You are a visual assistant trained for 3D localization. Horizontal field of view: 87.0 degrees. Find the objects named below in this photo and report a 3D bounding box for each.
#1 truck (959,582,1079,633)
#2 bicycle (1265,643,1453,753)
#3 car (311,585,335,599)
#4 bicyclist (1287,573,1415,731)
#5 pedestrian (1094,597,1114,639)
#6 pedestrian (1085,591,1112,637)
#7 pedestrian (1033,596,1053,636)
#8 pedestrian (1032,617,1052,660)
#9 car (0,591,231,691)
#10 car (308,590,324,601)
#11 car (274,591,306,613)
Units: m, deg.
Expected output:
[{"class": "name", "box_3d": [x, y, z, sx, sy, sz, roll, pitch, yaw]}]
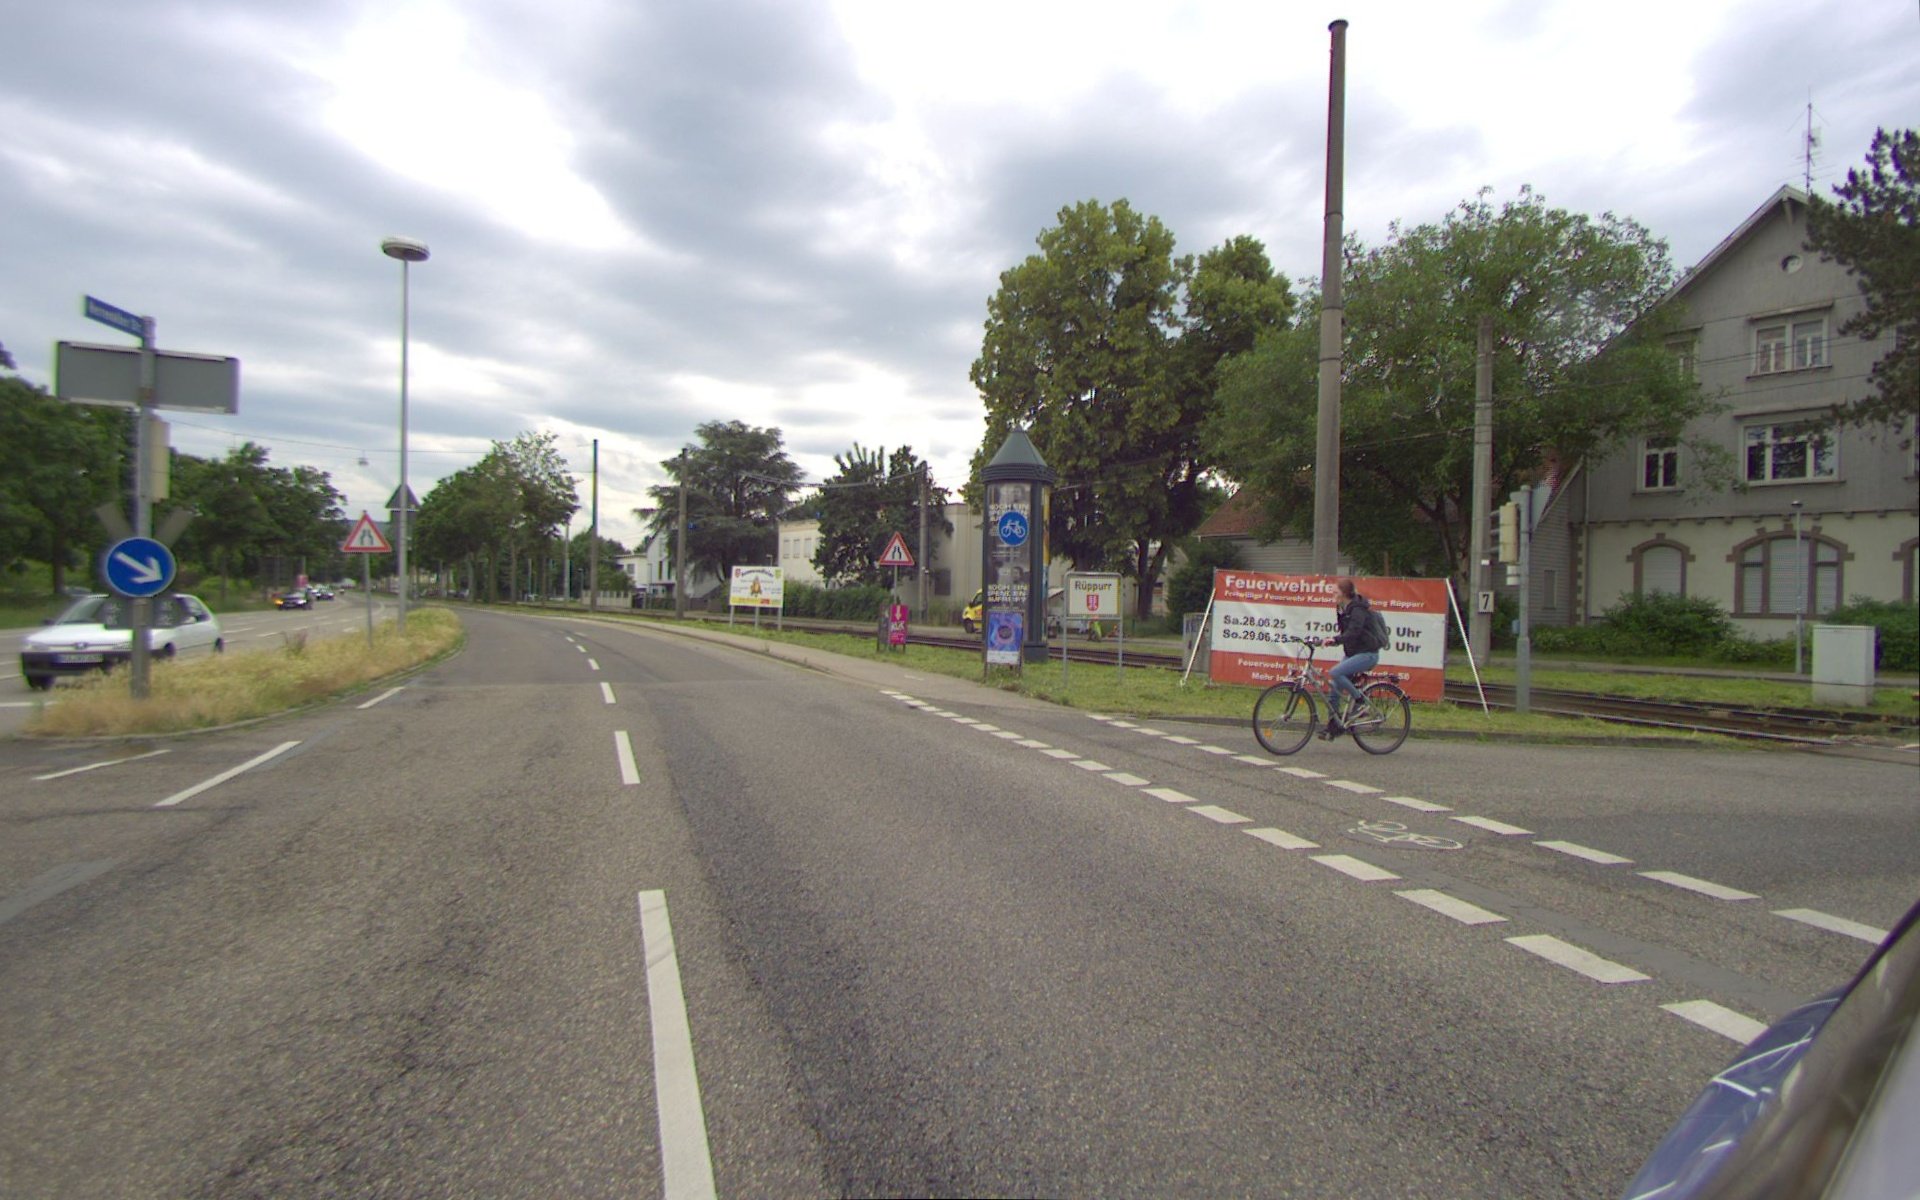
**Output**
[{"class": "truck", "box_3d": [2.743, 0.307, 49.052, 2.554, 2.322, 6.415, 1, 0, -32]}, {"class": "bicycle", "box_3d": [3.920, 0.952, 9.890, 1.987, 0.993, 0.384, 2, -1, -23]}, {"class": "car", "box_3d": [-73.779, -0.953, 117.204, 1.723, 1.594, 4.007, 1, 0, -24]}, {"class": "bicyclist", "box_3d": [3.771, 0.498, 9.784, 0.941, 1.444, 0.624, 1, -4, -24]}, {"class": "pedestrian", "box_3d": [6.167, 0.767, 43.451, 0.626, 1.784, 0.574, 1, 0, -43]}, {"class": "pedestrian", "box_3d": [5.802, 0.594, 42.430, 0.855, 1.878, 0.681, 2, -1, -21]}, {"class": "pedestrian", "box_3d": [3.722, 0.713, 45.295, 0.626, 1.784, 0.574, 1, 0, -43]}, {"class": "pedestrian", "box_3d": [3.623, 1.705, 44.813, 0.704, 1.863, 0.604, 1, -1, 22]}, {"class": "car", "box_3d": [-13.285, 0.562, 16.223, 1.612, 1.374, 4.159, 1, 0, -22]}, {"class": "car", "box_3d": [-98.660, -0.678, 155.074, 1.960, 1.677, 4.004, 0, 0, -30]}, {"class": "car", "box_3d": [-49.497, 0.131, 74.774, 1.627, 1.549, 3.895, 1, 0, -29]}]
